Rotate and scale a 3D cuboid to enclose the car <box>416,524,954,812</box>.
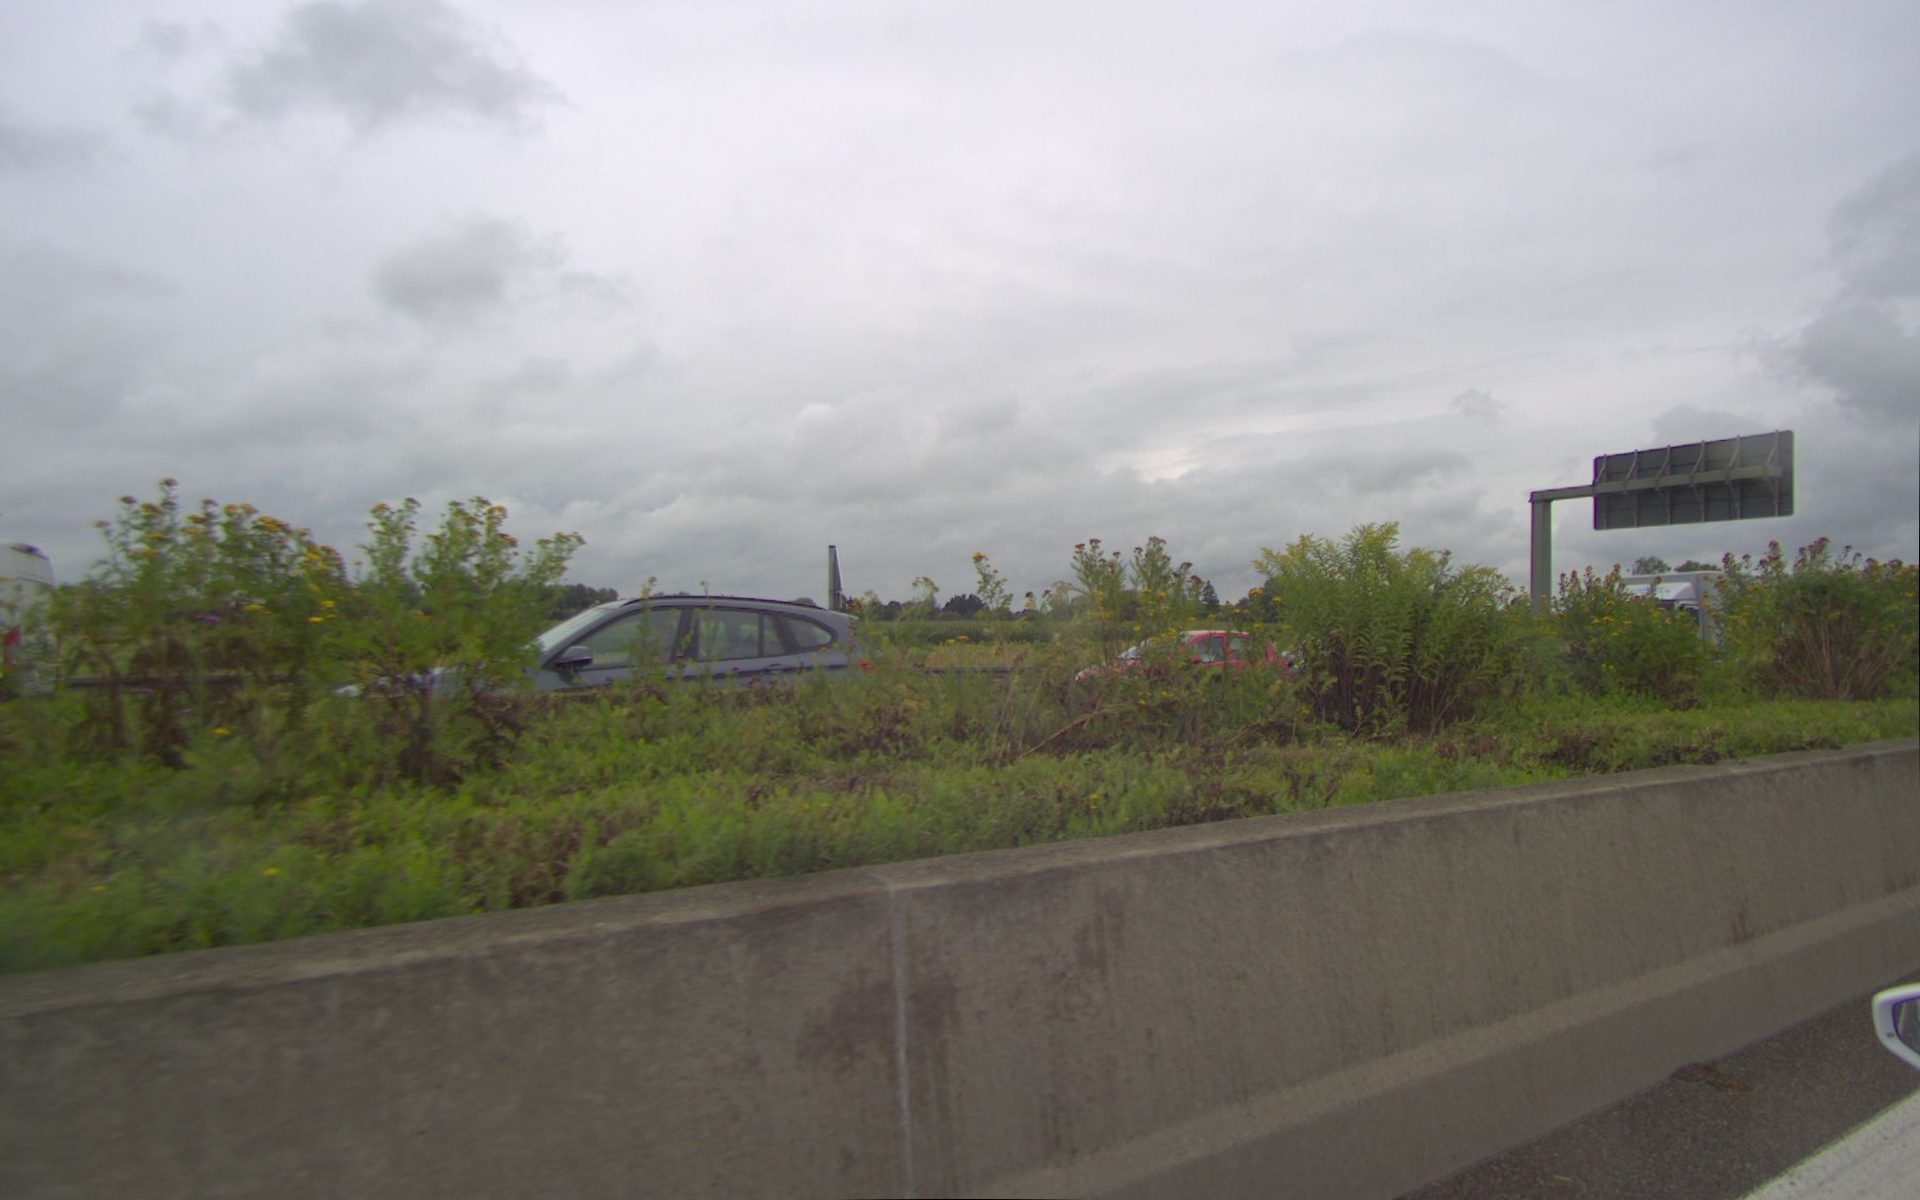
[{"bbox_3d":[-2.258,0.474,8.376,3.953,1.862,1.984,1,0,-30],"label":"car"}]

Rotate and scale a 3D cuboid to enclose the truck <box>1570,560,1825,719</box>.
[{"bbox_3d":[24.717,1.289,33.489,9.559,4.711,3.210,2,0,-30],"label":"truck"}]

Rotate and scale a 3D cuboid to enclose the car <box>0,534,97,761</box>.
[{"bbox_3d":[-13.998,0.431,10.764,6.825,2.563,2.234,2,0,-30],"label":"car"}]

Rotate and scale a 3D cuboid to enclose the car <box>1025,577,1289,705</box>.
[{"bbox_3d":[3.220,0.623,16.291,3.953,1.844,1.850,1,0,-30],"label":"car"}]
